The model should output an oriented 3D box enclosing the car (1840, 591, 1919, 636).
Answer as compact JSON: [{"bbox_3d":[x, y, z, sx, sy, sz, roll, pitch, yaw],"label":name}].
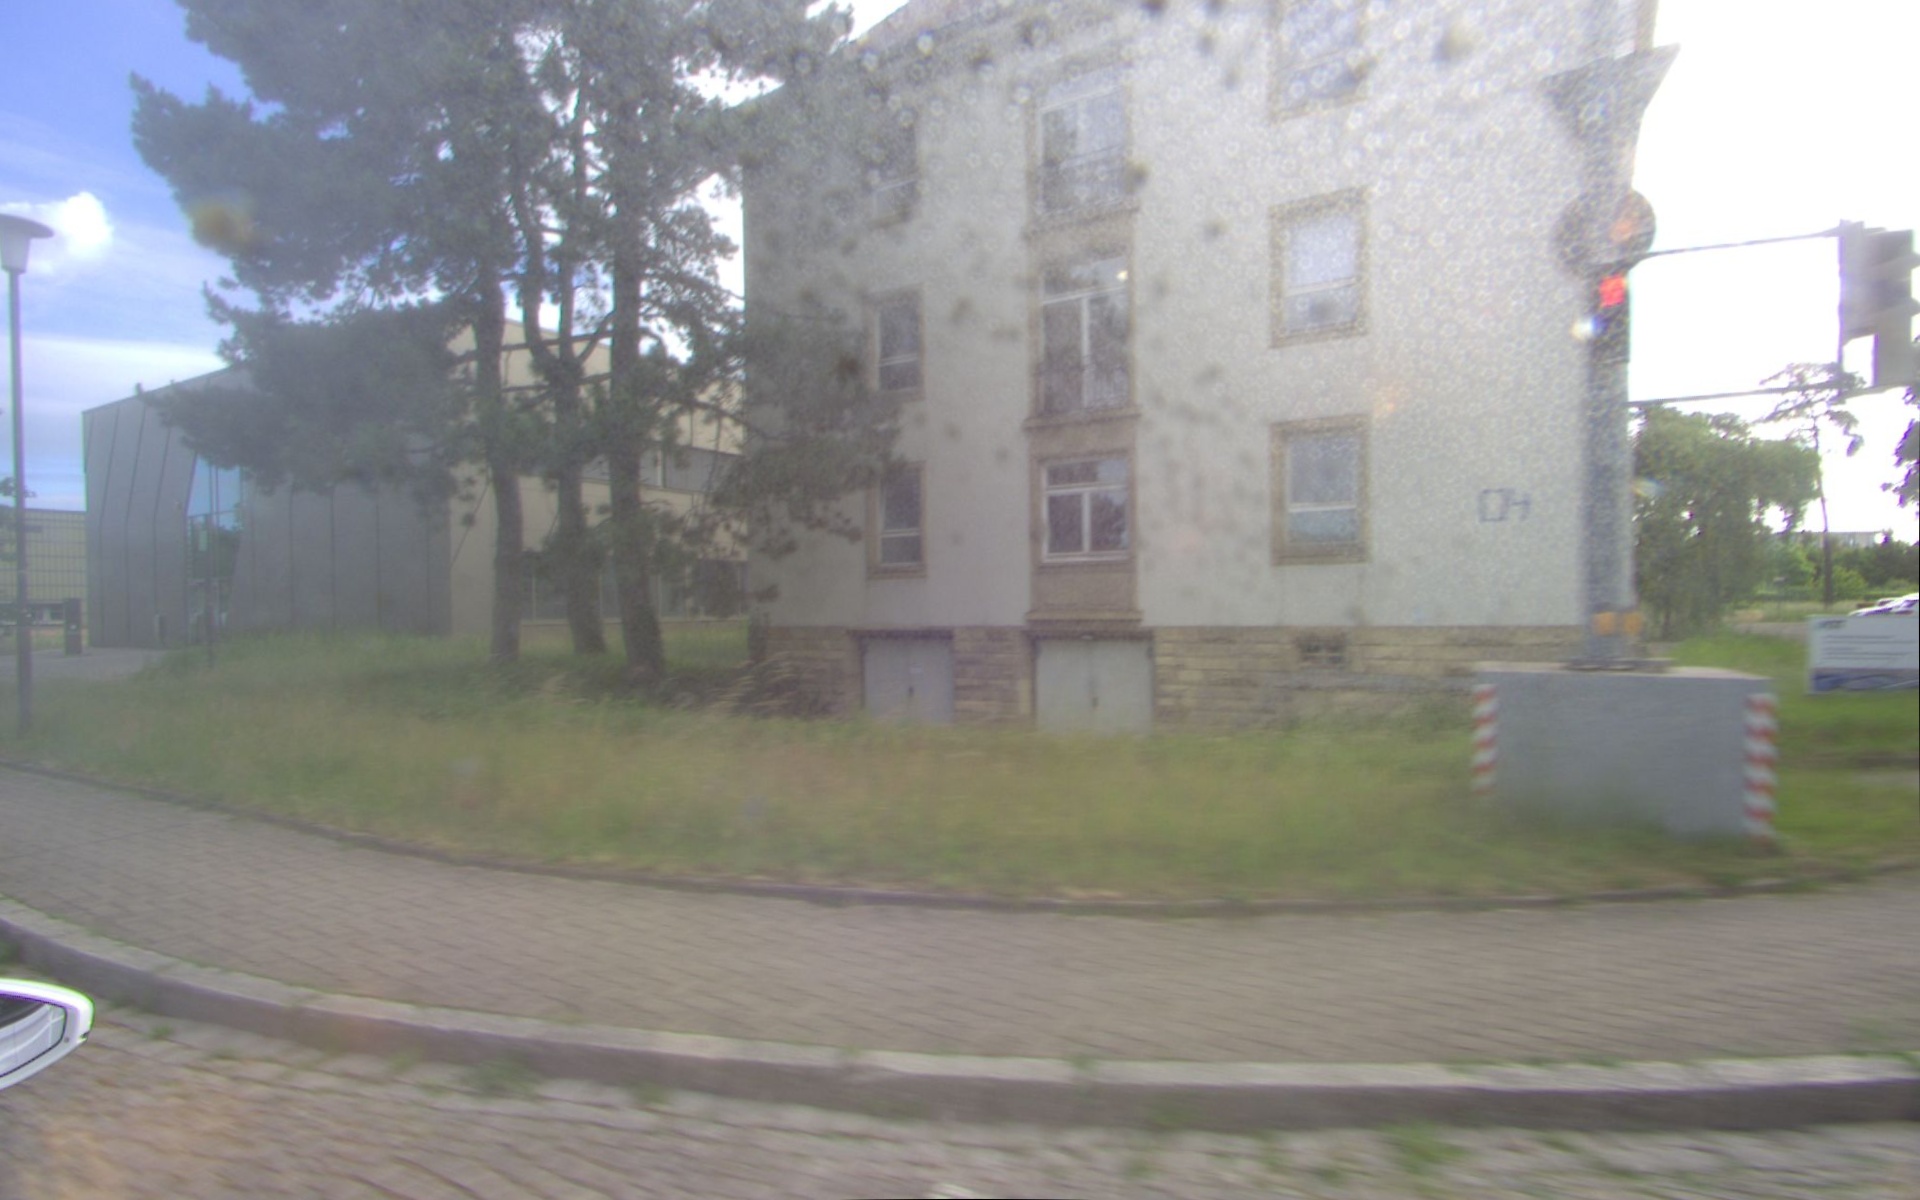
[{"bbox_3d":[37.353,0.524,39.011,4.324,1.740,1.990,-1,0,32],"label":"car"}]

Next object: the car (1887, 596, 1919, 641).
[{"bbox_3d":[36.421,0.649,35.864,4.399,1.613,1.771,-1,0,29],"label":"car"}]
